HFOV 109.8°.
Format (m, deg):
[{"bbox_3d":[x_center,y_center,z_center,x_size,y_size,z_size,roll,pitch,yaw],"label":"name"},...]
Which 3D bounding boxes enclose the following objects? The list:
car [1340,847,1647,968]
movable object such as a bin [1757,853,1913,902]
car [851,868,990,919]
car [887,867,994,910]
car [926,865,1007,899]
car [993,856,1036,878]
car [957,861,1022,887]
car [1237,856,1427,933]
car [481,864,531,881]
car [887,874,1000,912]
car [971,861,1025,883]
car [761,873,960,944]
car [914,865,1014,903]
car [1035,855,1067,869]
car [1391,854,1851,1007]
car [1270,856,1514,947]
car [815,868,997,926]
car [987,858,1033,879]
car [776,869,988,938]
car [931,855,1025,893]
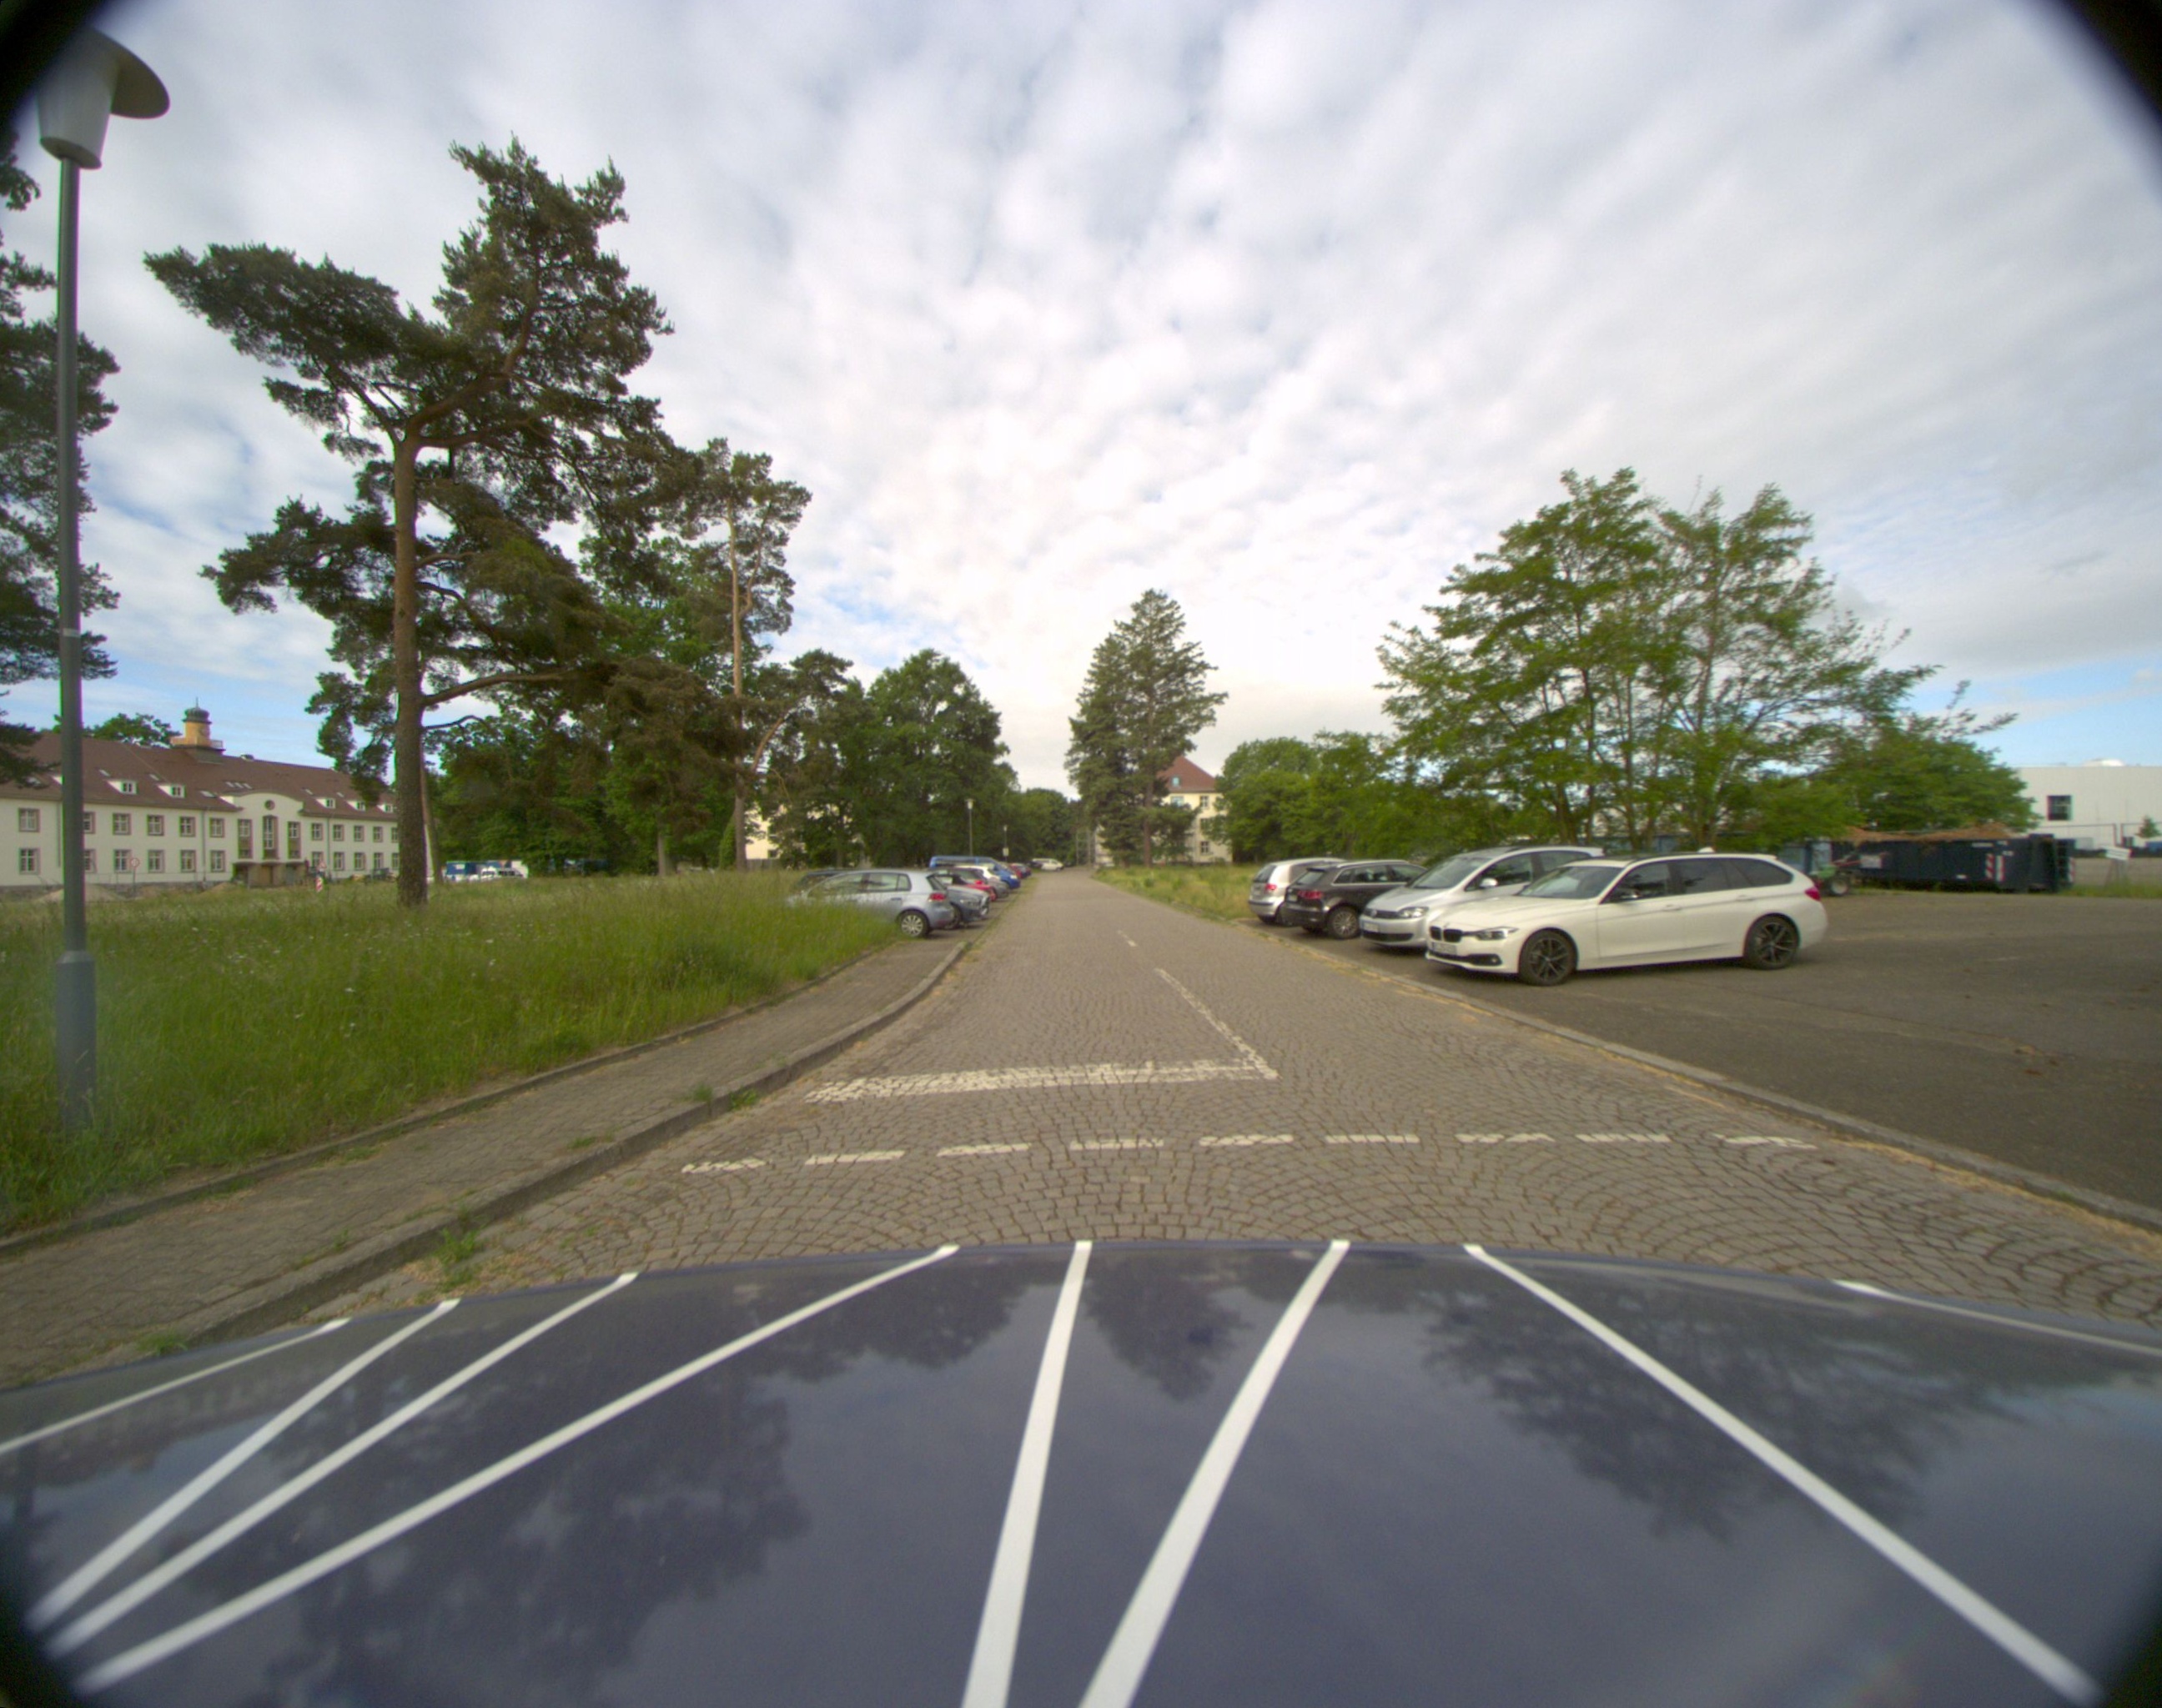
[{"bbox_3d":[6.467,0.781,12.145,3.999,1.538,1.723,-3,0,-7],"label":"car"},{"bbox_3d":[18.975,0.565,19.206,2.397,1.154,1.500,-1,0,3],"label":"movable object such as a bin"},{"bbox_3d":[-4.959,1.203,23.892,3.972,1.443,1.800,-1,0,-2],"label":"car"},{"bbox_3d":[-5.263,1.265,28.858,3.787,1.496,1.798,-1,0,-4],"label":"car"},{"bbox_3d":[-5.162,1.260,34.577,3.409,1.443,1.637,-1,0,-1],"label":"car"},{"bbox_3d":[-6.465,1.235,73.893,3.997,2.002,2.000,-1,0,-1],"label":"car"},{"bbox_3d":[-5.846,1.278,48.925,3.998,1.601,2.000,-1,0,-2],"label":"car"},{"bbox_3d":[5.734,0.883,17.594,3.689,1.444,1.807,-4,0,-7],"label":"car"},{"bbox_3d":[-71.181,2.254,94.111,2.154,2.002,5.224,-1,0,1],"label":"car"},{"bbox_3d":[-4.683,1.334,26.168,3.600,1.200,1.494,-1,0,-1],"label":"car"},{"bbox_3d":[-6.430,1.407,59.240,3.998,1.521,2.000,-2,0,-2],"label":"car"},{"bbox_3d":[-4.571,1.118,16.130,3.774,1.418,1.605,0,0,-3],"label":"car"},{"bbox_3d":[-4.834,1.243,31.764,3.849,1.447,1.820,-1,0,0],"label":"car"},{"bbox_3d":[-4.900,1.284,122.849,5.031,2.164,2.000,-1,0,0],"label":"car"},{"bbox_3d":[6.634,0.860,9.611,4.661,1.435,1.801,-3,0,-6],"label":"car"},{"bbox_3d":[5.955,0.879,14.851,3.998,1.419,1.750,-3,0,-3],"label":"car"},{"bbox_3d":[-4.869,1.193,21.632,4.770,1.474,1.812,-1,0,-2],"label":"car"},{"bbox_3d":[-6.490,1.315,69.491,4.008,1.752,2.000,-1,0,-1],"label":"car"},{"bbox_3d":[-4.727,1.168,18.637,4.771,1.474,1.761,-1,0,-5],"label":"car"},{"bbox_3d":[-5.343,1.047,39.998,4.750,1.927,2.000,0,0,-2],"label":"car"}]
